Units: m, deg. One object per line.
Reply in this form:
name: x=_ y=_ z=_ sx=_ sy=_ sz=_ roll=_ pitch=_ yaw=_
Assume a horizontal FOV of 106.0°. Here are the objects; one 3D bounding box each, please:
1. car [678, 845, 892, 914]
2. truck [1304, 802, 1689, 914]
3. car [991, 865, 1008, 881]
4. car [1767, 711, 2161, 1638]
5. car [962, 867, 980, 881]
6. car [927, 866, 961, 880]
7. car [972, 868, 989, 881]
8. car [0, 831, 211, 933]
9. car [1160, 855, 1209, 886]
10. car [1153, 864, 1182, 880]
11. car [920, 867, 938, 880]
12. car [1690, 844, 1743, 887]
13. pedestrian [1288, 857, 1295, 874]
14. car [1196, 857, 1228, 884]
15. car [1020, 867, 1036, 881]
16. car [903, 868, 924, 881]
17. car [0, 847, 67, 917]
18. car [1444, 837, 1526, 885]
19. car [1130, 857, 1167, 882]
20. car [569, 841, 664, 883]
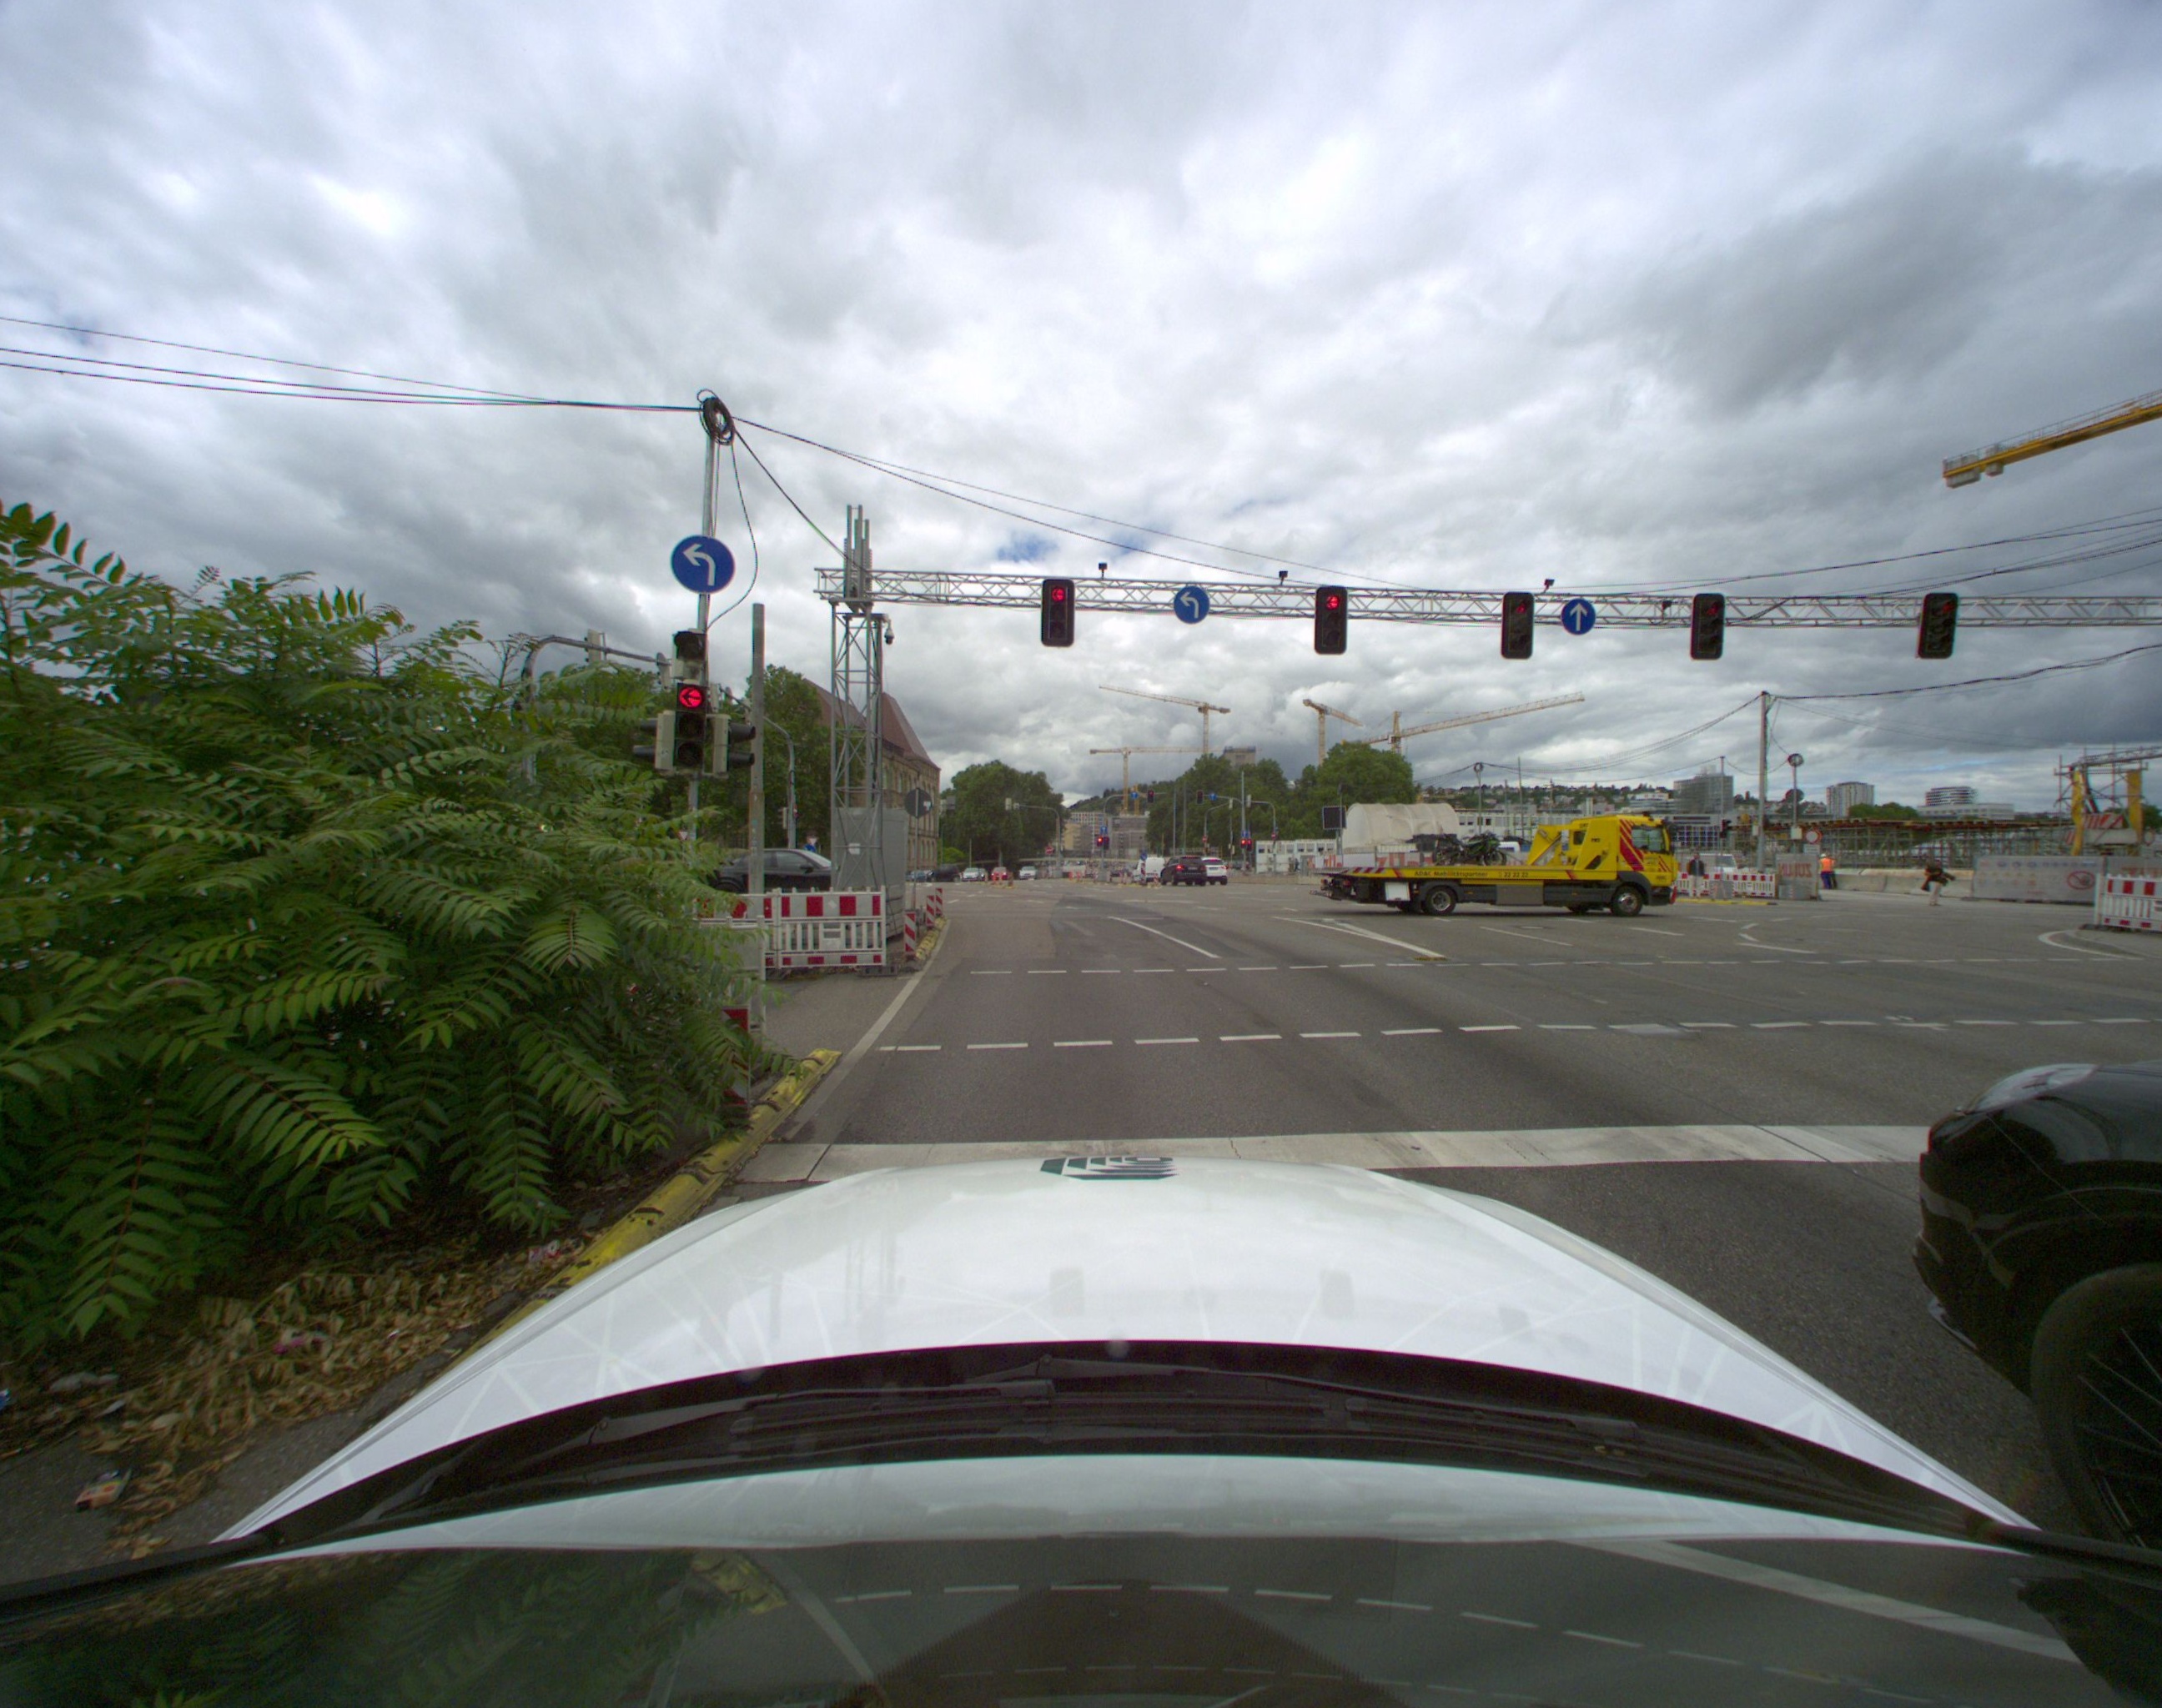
car: x=-7.425 y=0.617 z=20.918 sx=4.803 sy=1.625 sz=2.015 roll=0 pitch=-1 yaw=-7
truck: x=10.750 y=0.097 z=21.627 sx=8.953 sy=2.803 sz=2.626 roll=0 pitch=0 yaw=-1
car: x=-8.482 y=1.991 z=85.081 sx=1.673 sy=1.580 sz=3.677 roll=0 pitch=-1 yaw=-4
car: x=2.861 y=0.577 z=0.129 sx=1.817 sy=1.715 sz=4.486 roll=0 pitch=-1 yaw=2
car: x=-11.622 y=2.113 z=86.065 sx=1.673 sy=1.398 sz=3.677 roll=0 pitch=-1 yaw=-4
car: x=-11.145 y=1.552 z=66.348 sx=2.689 sy=1.142 sz=1.353 roll=0 pitch=-1 yaw=-10
car: x=-11.369 y=2.262 z=92.223 sx=1.673 sy=1.398 sz=3.677 roll=0 pitch=-1 yaw=-4
car: x=-18.669 y=0.488 z=15.060 sx=4.220 sy=1.691 sz=1.885 roll=-1 pitch=-1 yaw=18
car: x=6.022 y=0.928 z=47.855 sx=1.830 sy=1.746 sz=4.244 roll=0 pitch=-1 yaw=-8
car: x=8.017 y=1.673 z=75.949 sx=1.680 sy=1.398 sz=3.069 roll=0 pitch=-1 yaw=-16
car: x=-17.404 y=2.217 z=93.498 sx=1.673 sy=1.398 sz=3.677 roll=0 pitch=-1 yaw=-4
car: x=30.132 y=0.553 z=38.691 sx=1.755 sy=1.954 sz=3.146 roll=-1 pitch=-1 yaw=34
pedestrian: x=21.673 y=1.168 z=83.737 sx=0.528 sy=1.748 sz=0.465 roll=0 pitch=0 yaw=-22
car: x=8.477 y=1.049 z=52.990 sx=1.670 sy=1.702 sz=3.375 roll=0 pitch=-1 yaw=2
car: x=-5.587 y=2.062 z=85.309 sx=1.673 sy=1.398 sz=3.677 roll=0 pitch=-1 yaw=-4
car: x=-17.909 y=2.167 z=87.076 sx=1.673 sy=1.398 sz=3.677 roll=0 pitch=-1 yaw=-4
car: x=-27.967 y=0.704 z=20.871 sx=4.213 sy=1.691 sz=1.888 roll=-1 pitch=-1 yaw=30
car: x=23.229 y=0.415 z=46.965 sx=3.957 sy=2.662 sz=1.688 roll=-1 pitch=-1 yaw=15
car: x=4.565 y=1.012 z=55.568 sx=1.814 sy=1.625 sz=3.992 roll=0 pitch=-1 yaw=-5
car: x=-32.048 y=0.531 z=56.352 sx=5.330 sy=2.856 sz=1.821 roll=0 pitch=-1 yaw=-14
